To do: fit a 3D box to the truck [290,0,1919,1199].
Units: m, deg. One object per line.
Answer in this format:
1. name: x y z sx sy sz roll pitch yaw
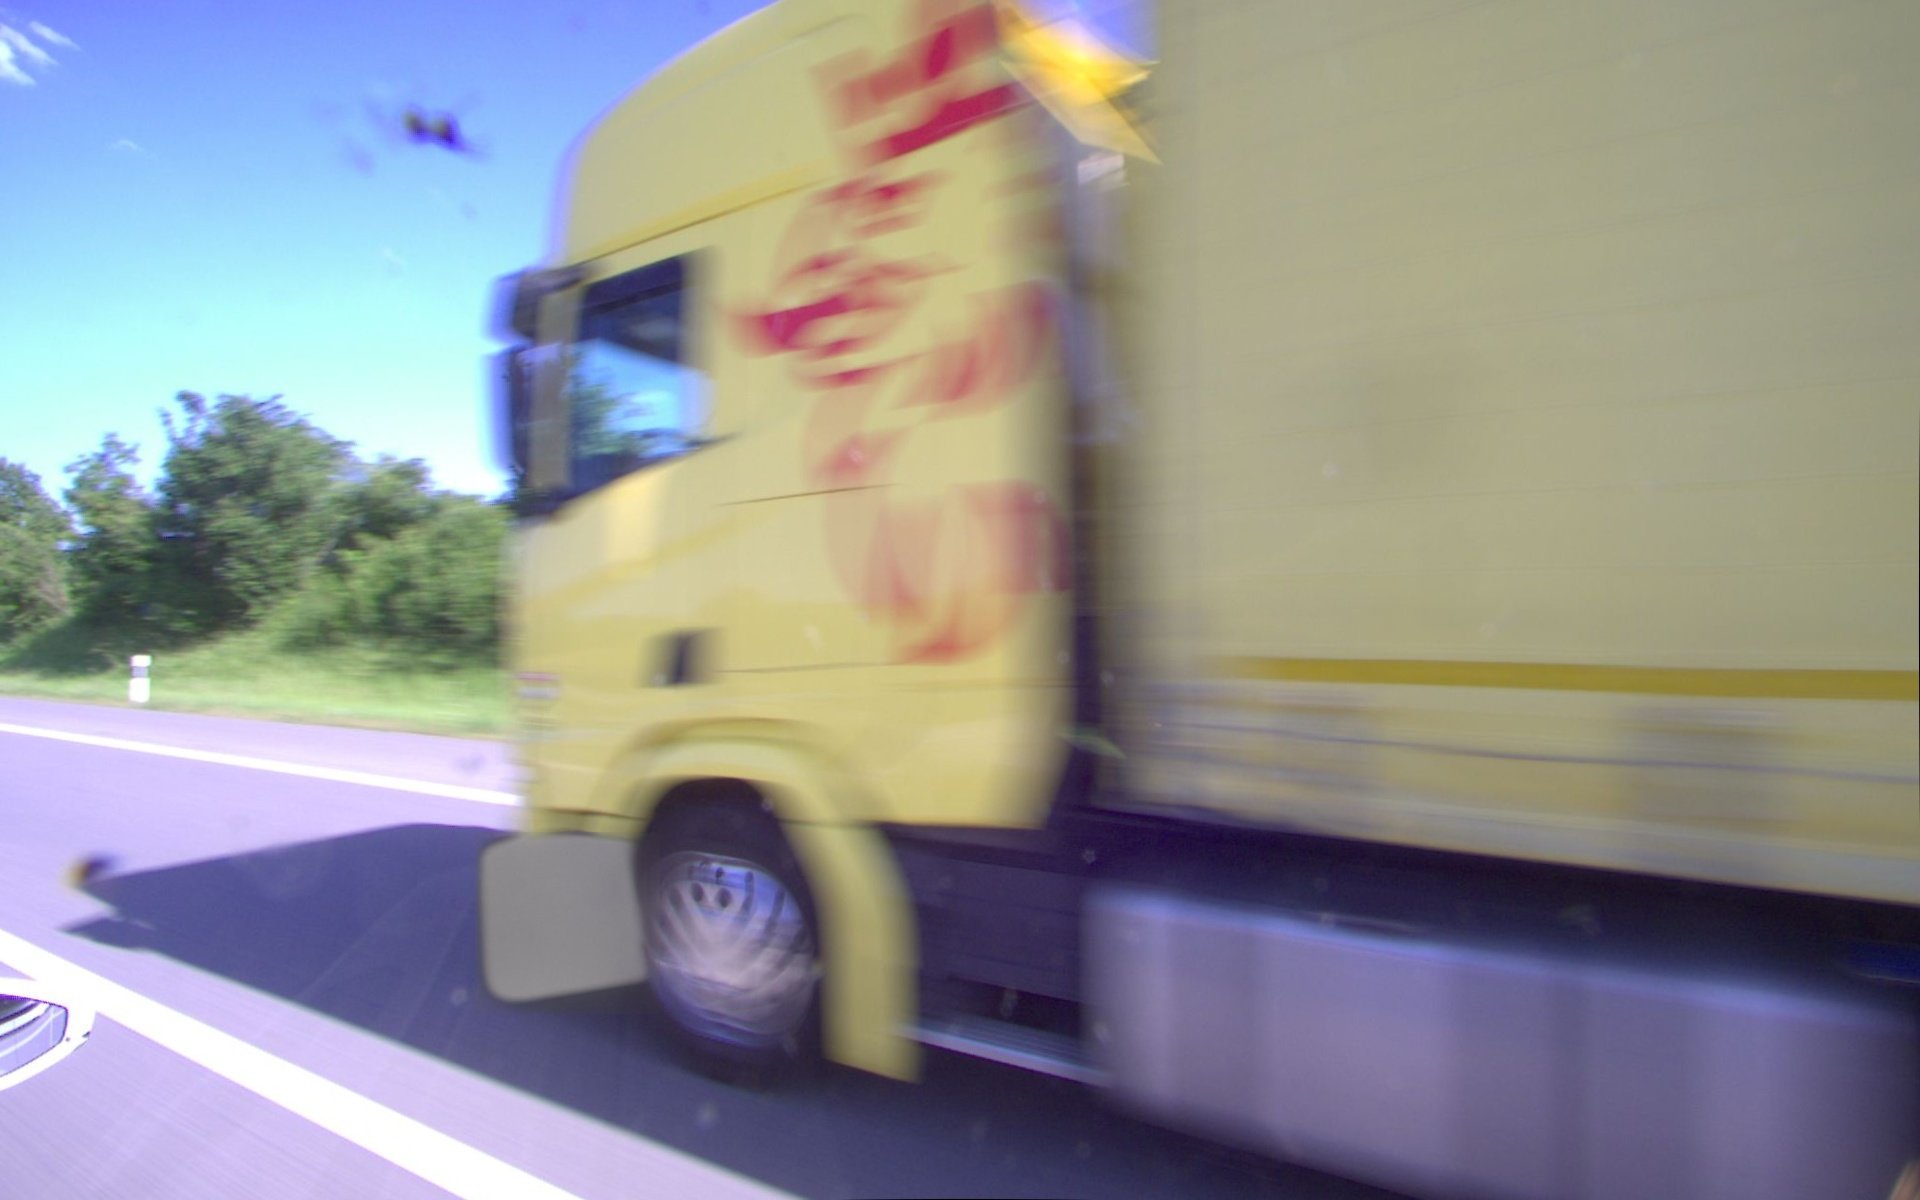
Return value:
1. truck: 0.752 -0.565 3.867 6.295 4.166 3.165 -1 -2 31
